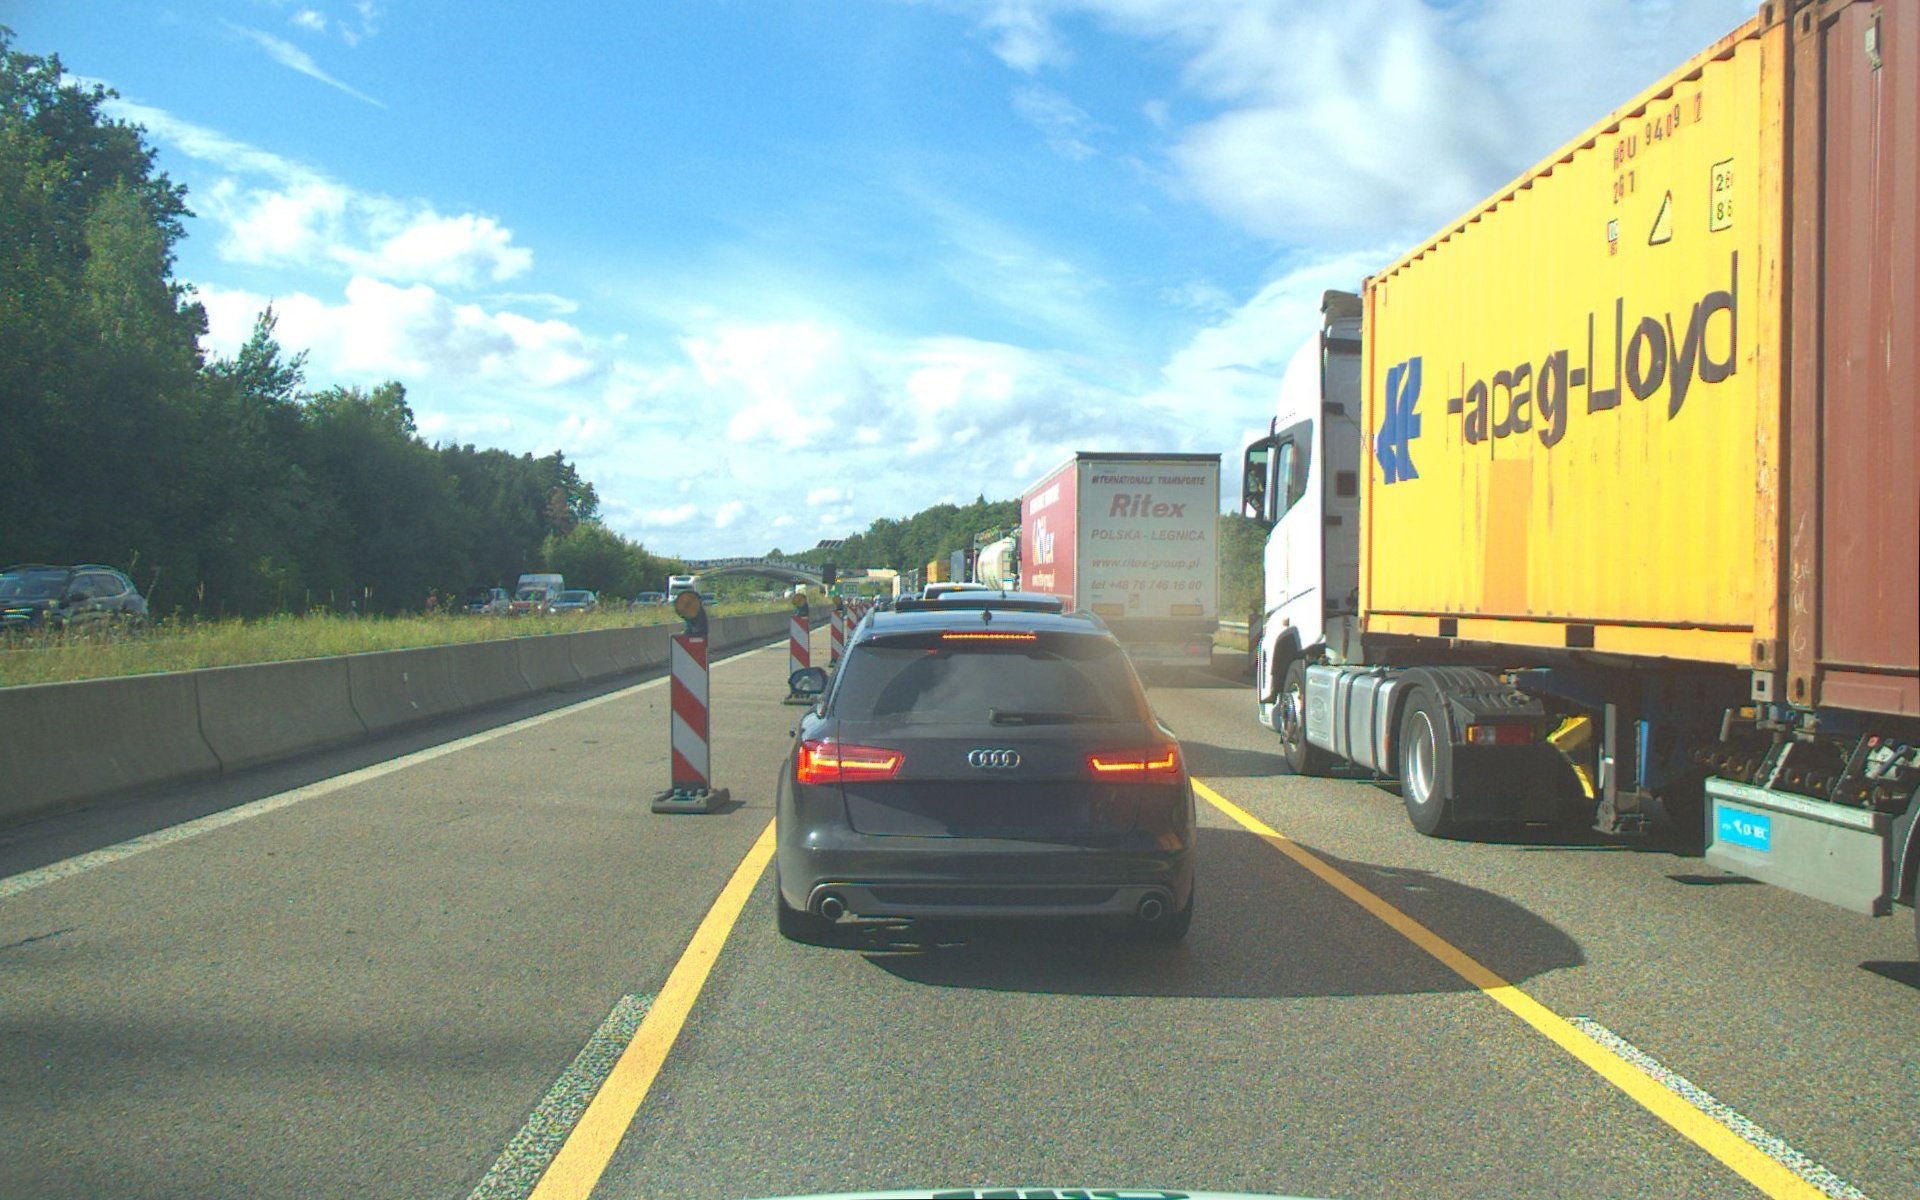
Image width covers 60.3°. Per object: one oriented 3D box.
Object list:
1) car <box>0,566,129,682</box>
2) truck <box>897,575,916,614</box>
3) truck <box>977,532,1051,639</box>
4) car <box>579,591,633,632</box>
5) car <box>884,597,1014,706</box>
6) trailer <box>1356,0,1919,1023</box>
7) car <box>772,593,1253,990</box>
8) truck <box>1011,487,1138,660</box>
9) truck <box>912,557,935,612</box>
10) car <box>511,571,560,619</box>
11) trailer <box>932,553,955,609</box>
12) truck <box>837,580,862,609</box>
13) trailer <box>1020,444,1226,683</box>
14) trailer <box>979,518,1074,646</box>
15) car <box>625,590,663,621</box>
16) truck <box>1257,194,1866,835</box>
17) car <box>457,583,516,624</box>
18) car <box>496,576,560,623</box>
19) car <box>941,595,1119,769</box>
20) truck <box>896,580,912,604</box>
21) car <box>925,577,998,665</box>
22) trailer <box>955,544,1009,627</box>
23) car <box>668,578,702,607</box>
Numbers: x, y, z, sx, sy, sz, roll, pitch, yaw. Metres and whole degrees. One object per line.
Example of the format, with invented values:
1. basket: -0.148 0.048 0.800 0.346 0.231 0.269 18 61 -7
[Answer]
1. car: -15.096 0.352 26.596 1.680 1.736 3.522 1 0 -1
2. truck: -6.204 -0.611 191.946 2.094 4.332 7.069 1 0 -1
3. truck: 2.095 -0.528 65.937 2.605 4.041 5.777 1 0 -1
4. car: -17.032 0.565 79.732 1.762 1.881 3.809 1 0 -1
5. car: -0.175 0.702 23.922 1.716 1.421 3.607 1 0 -1
6. trailer: 4.395 -0.511 6.359 2.422 3.841 12.130 0 0 -2
7. car: 0.175 0.738 8.264 1.811 1.489 3.999 1 0 -1
8. truck: 2.797 -0.638 41.812 2.614 4.029 5.709 1 0 -2
9. truck: -3.498 -1.442 156.314 1.953 5.000 9.558 1 0 -2
10. car: -24.866 -0.278 97.042 2.208 2.689 5.010 1 0 -8
11. trailer: -1.246 -1.339 122.784 1.584 3.987 6.487 1 0 -2
12. truck: -17.319 -0.784 258.595 3.242 4.248 9.684 -1 0 -8
13. trailer: 3.027 -0.634 34.931 2.645 4.038 13.413 1 0 -1
14. trailer: 2.190 -0.566 58.901 2.590 4.012 12.595 1 0 -1
15. car: -17.232 0.305 90.376 1.452 1.682 3.233 1 0 -1
16. truck: 4.162 -0.518 12.884 2.444 3.847 5.787 0 0 -2
17. car: -24.916 0.195 87.178 1.953 2.049 3.999 1 0 -1
18. car: -19.877 -0.024 76.251 1.953 2.049 3.999 1 0 -1
19. car: 0.586 0.715 15.872 1.493 1.464 3.284 1 0 -1
20. truck: -8.788 -1.218 258.723 2.515 3.527 7.395 1 0 -2
21. car: 0.009 0.466 37.401 1.549 1.869 3.111 1 0 -1
22. trailer: 1.194 -0.773 95.718 2.748 4.490 10.430 1 0 -1
23. car: -22.738 -0.597 136.838 1.953 2.317 5.129 1 0 -1
